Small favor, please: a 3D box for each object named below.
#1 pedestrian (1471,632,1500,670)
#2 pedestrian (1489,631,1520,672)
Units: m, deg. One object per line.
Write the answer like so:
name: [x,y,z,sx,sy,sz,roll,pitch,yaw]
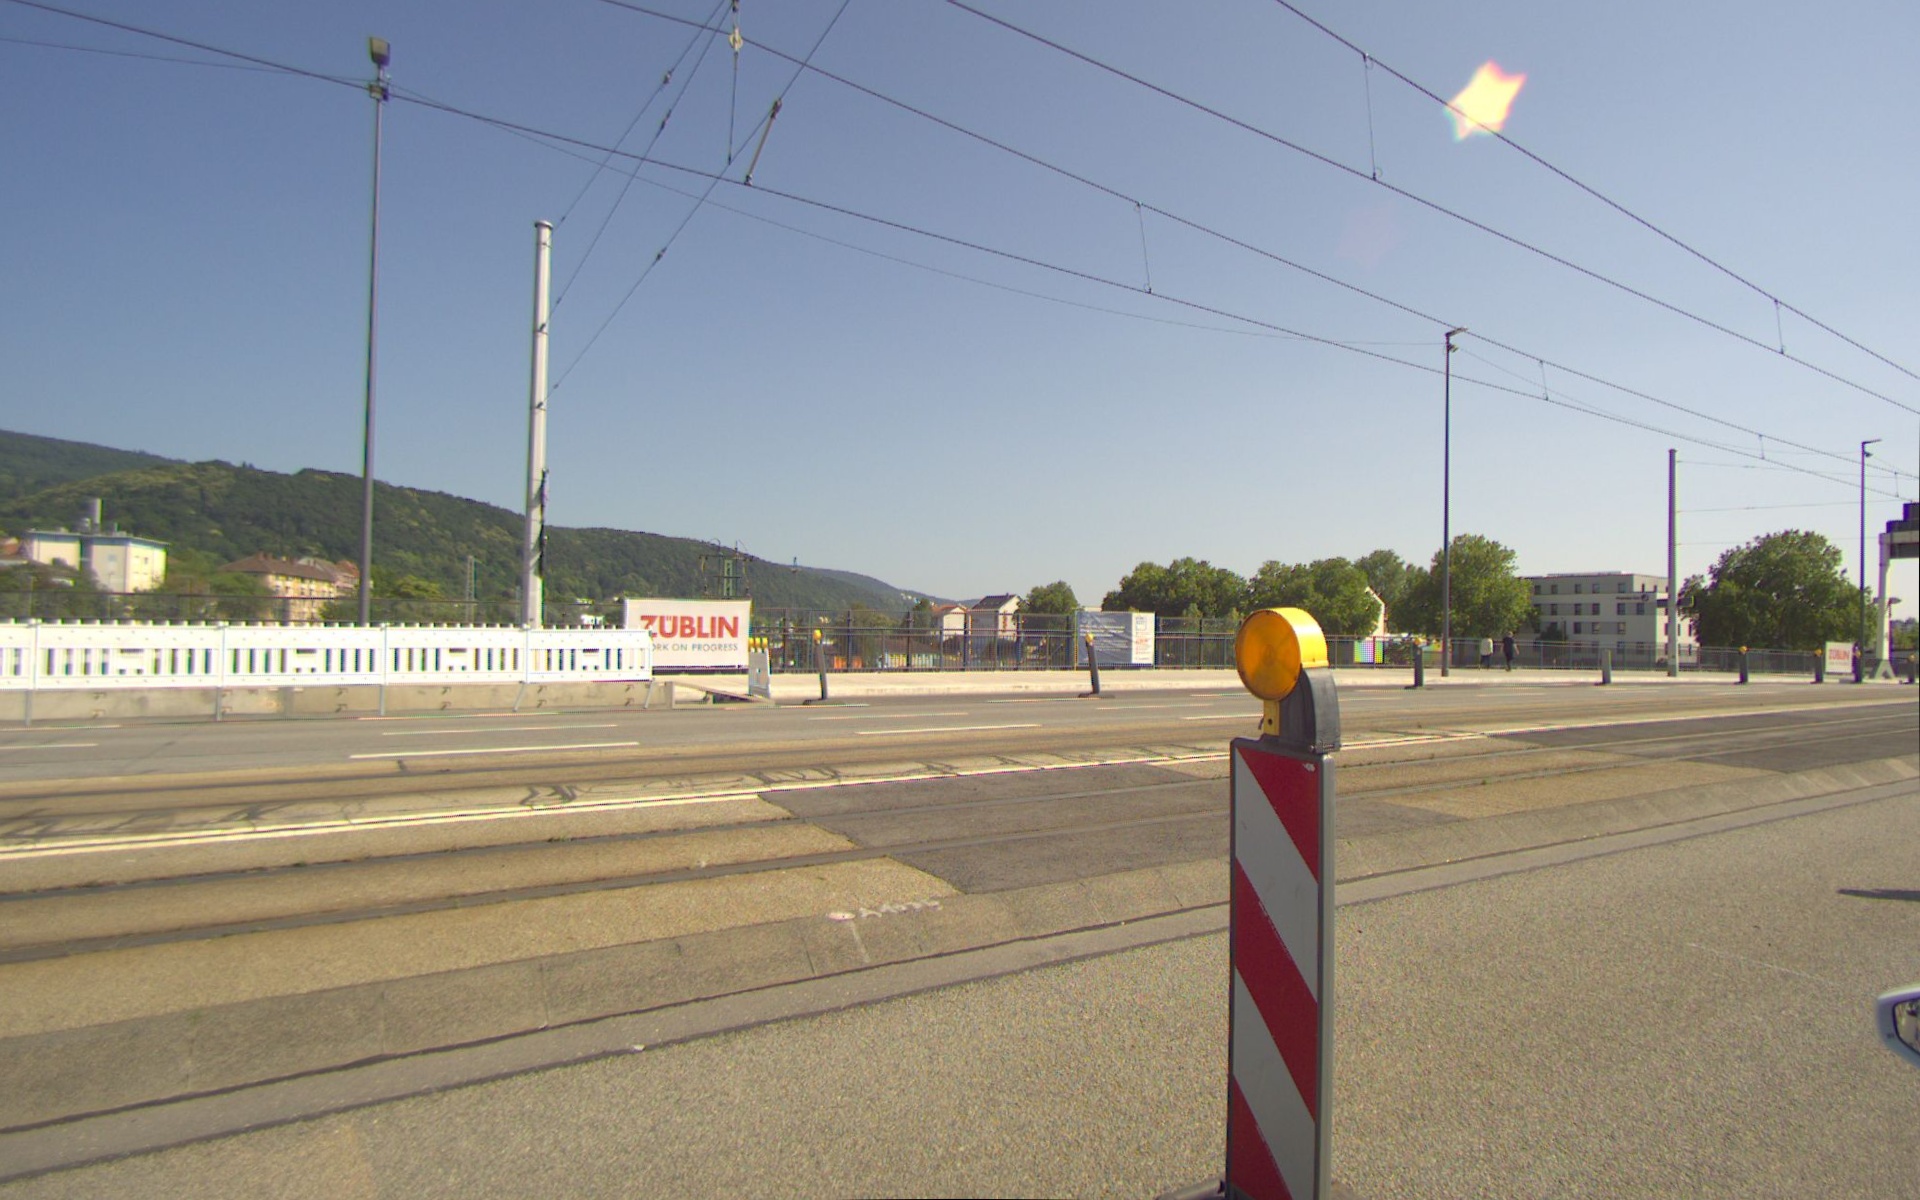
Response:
pedestrian: [22.654,2.193,43.290,0.878,1.565,0.716,2,1,-30]
pedestrian: [22.968,2.167,42.360,0.884,1.663,0.740,2,1,-30]
